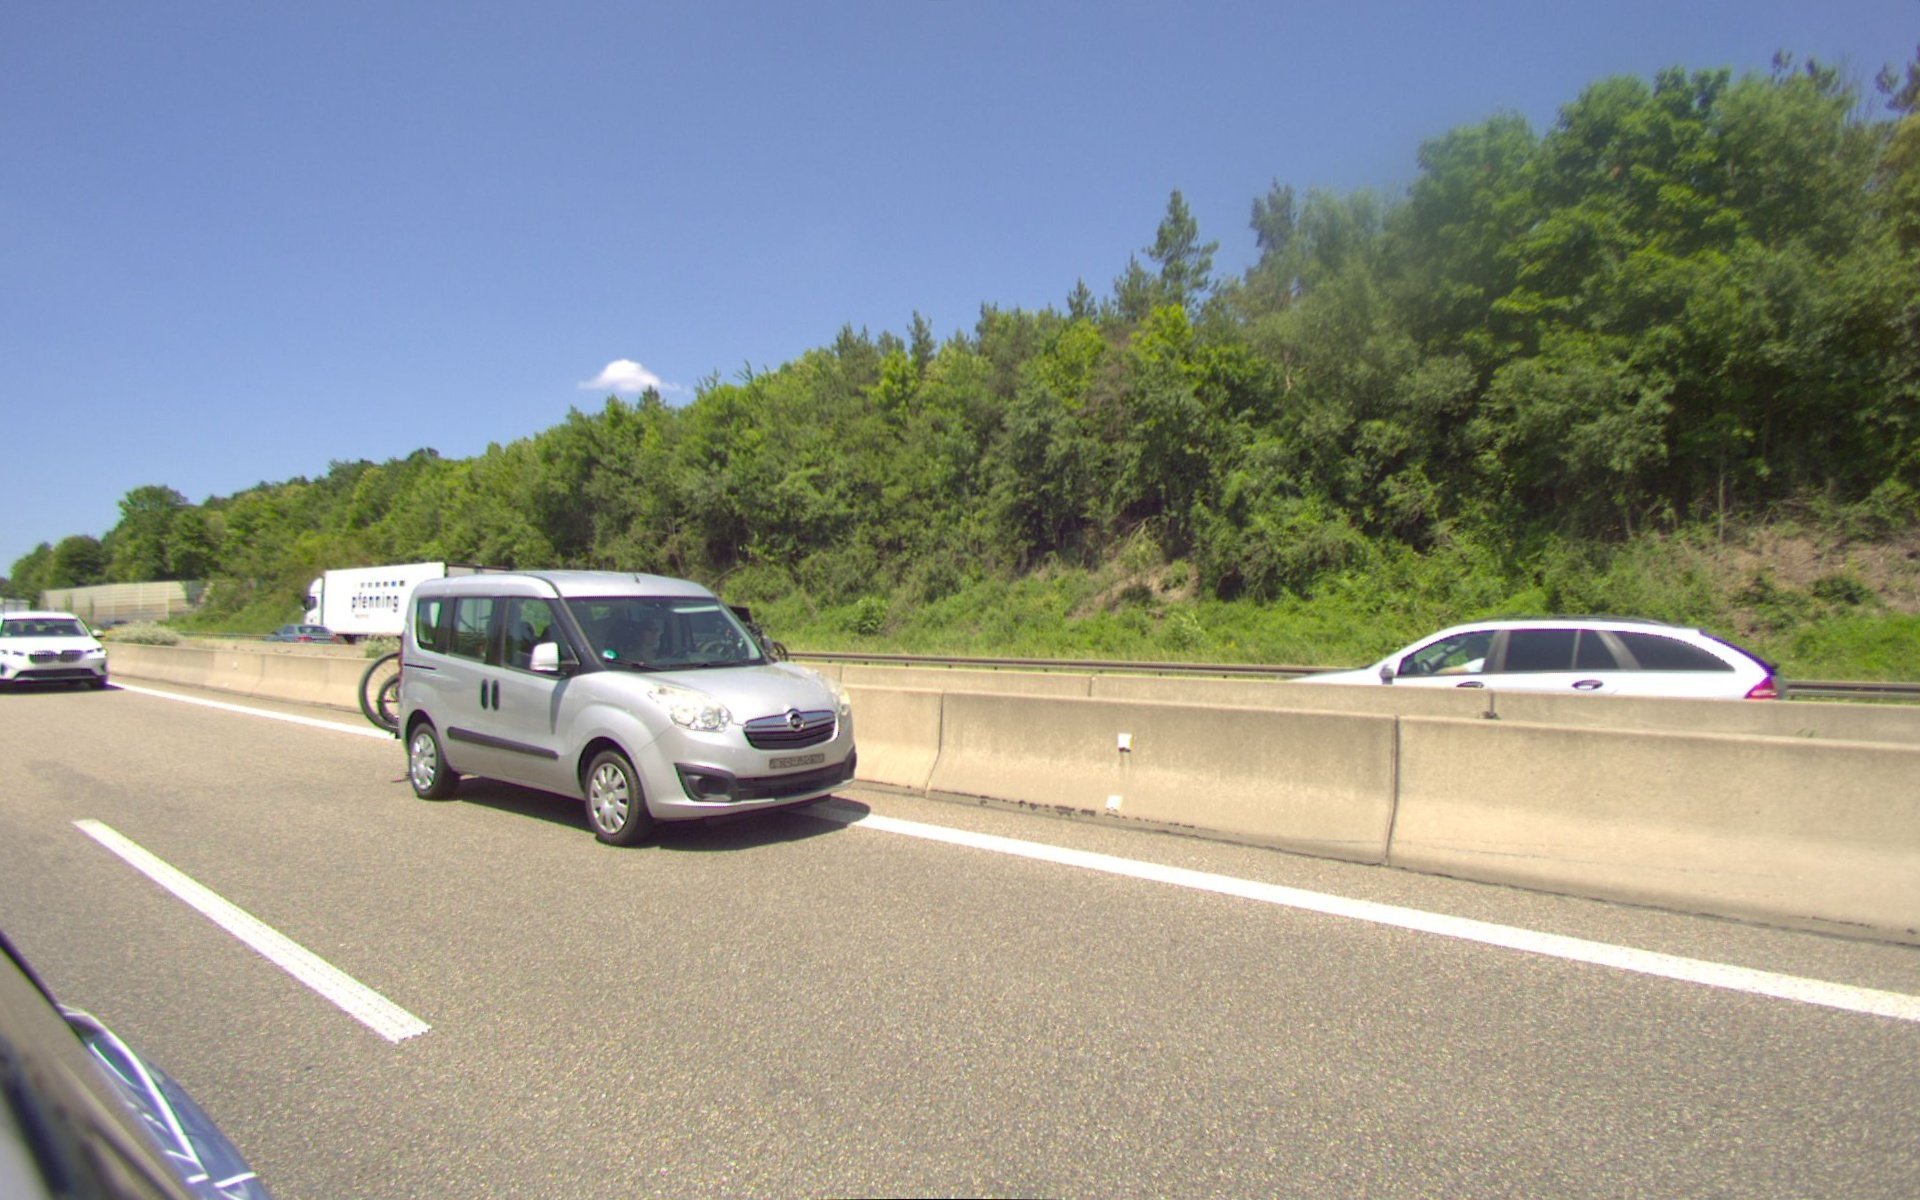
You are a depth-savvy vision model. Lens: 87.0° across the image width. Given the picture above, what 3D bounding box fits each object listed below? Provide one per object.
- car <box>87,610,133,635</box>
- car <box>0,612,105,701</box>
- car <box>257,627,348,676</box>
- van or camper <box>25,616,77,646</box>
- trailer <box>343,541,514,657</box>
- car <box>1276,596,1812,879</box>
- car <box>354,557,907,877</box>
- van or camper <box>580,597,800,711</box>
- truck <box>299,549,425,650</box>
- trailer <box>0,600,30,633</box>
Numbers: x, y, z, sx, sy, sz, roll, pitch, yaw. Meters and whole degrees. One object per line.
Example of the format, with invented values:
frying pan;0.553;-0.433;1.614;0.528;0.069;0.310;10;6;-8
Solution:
car;-72.554;1.922;86.370;4.472;2.029;2.093;0;0;38
car;-19.948;1.133;21.753;3.997;1.719;1.801;0;0;40
car;-27.102;2.067;41.675;4.448;1.776;1.973;0;0;40
van or camper;-73.747;2.511;82.057;4.795;2.403;1.977;-1;-2;34
trailer;-23.279;-0.030;43.934;10.812;4.515;2.918;0;0;41
car;5.234;0.991;9.329;3.998;2.029;1.973;0;0;41
car;-2.830;0.656;7.943;4.914;1.786;1.834;0;0;40
van or camper;-5.550;0.972;20.420;4.927;2.029;1.972;0;0;42
truck;-28.969;-0.010;48.884;7.512;4.515;2.920;0;0;40
trailer;-118.091;2.002;125.275;11.392;3.901;2.967;0;0;40
